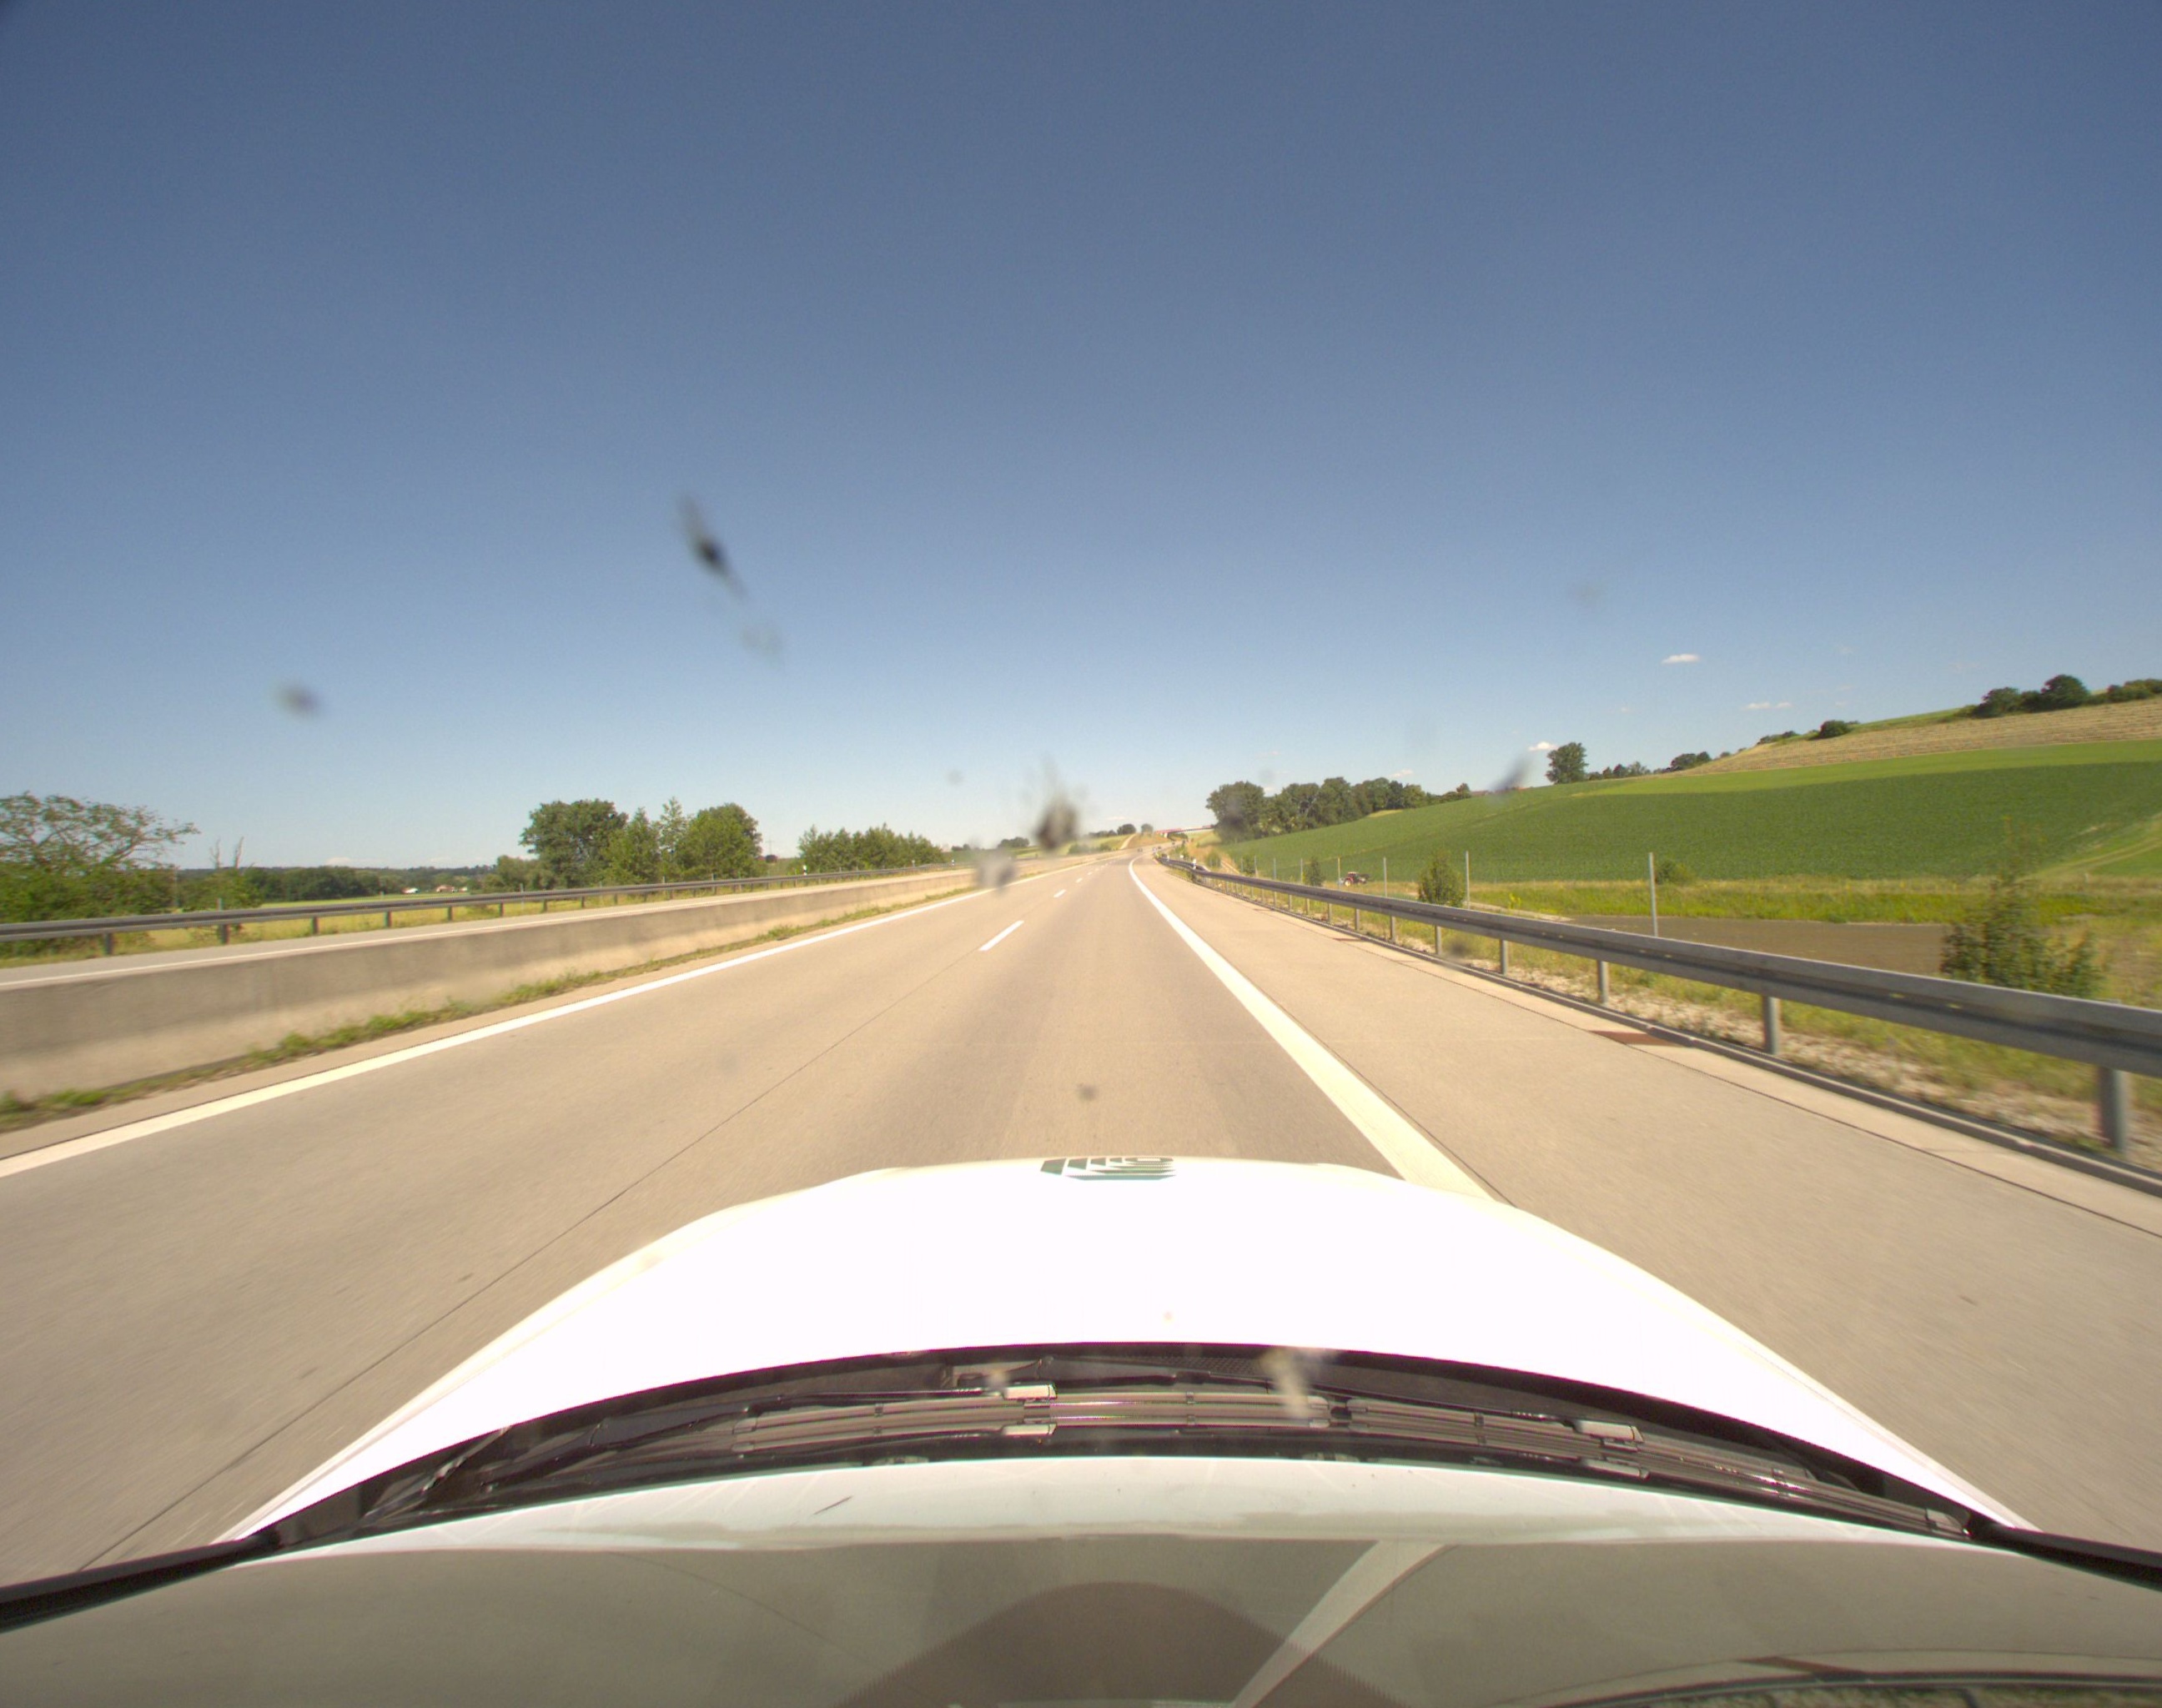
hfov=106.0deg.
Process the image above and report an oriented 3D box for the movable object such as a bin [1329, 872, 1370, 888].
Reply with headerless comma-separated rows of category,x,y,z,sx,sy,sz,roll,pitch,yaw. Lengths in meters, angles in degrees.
movable object such as a bin,48.268,4.615,146.405,6.154,2.771,3.306,-1,-2,43
